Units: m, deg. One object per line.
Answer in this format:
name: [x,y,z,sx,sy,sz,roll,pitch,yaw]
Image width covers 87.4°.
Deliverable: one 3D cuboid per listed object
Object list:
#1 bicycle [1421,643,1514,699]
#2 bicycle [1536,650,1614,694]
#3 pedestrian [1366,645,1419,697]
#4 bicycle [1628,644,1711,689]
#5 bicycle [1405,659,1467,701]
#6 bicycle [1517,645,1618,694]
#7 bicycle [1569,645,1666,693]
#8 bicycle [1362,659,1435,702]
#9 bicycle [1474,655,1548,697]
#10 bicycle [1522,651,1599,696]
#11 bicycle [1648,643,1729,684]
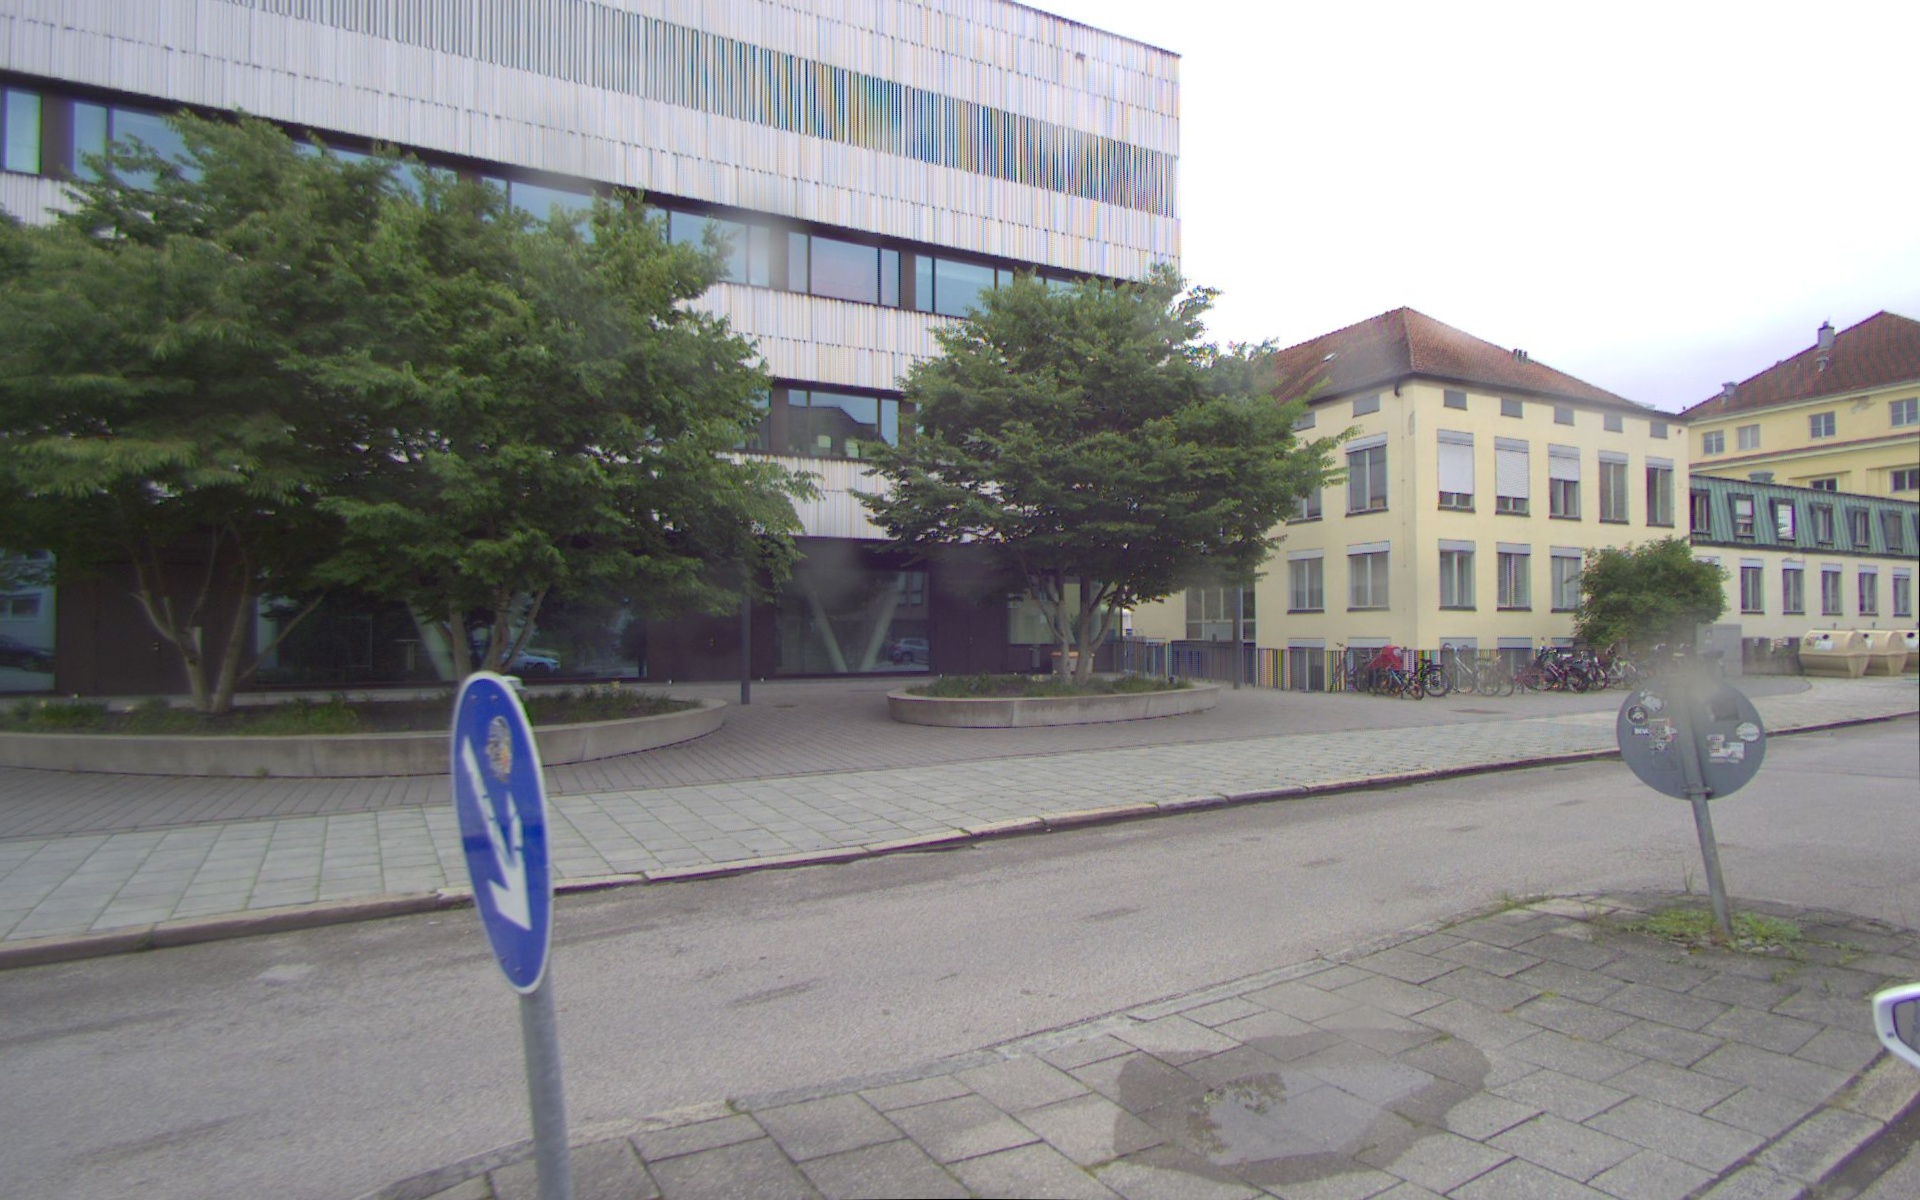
bicycle: [12.599,1.742,25.002,0.775,1.244,2.101,0,0,-22]
bicycle: [16.601,1.924,27.175,0.532,1.043,1.863,0,0,-22]
pedestrian: [10.544,1.719,24.502,1.027,1.178,0.715,0,0,-28]
bicycle: [20.299,1.877,28.772,0.564,1.146,1.953,0,0,-22]
bicycle: [11.254,1.875,23.759,0.433,0.874,1.367,0,0,-25]
bicycle: [16.122,1.810,26.734,0.418,1.222,2.549,0,-2,-22]
bicycle: [17.967,1.864,27.516,0.573,1.150,2.306,0,0,-22]
bicycle: [10.262,1.862,23.561,0.433,0.874,1.713,0,0,-25]
bicycle: [14.045,1.928,25.663,0.586,0.928,1.671,0,0,-22]
bicycle: [15.580,1.886,26.104,0.500,1.047,1.787,0,0,-22]
bicycle: [21.612,1.859,29.831,0.667,1.106,1.901,0,0,-22]
